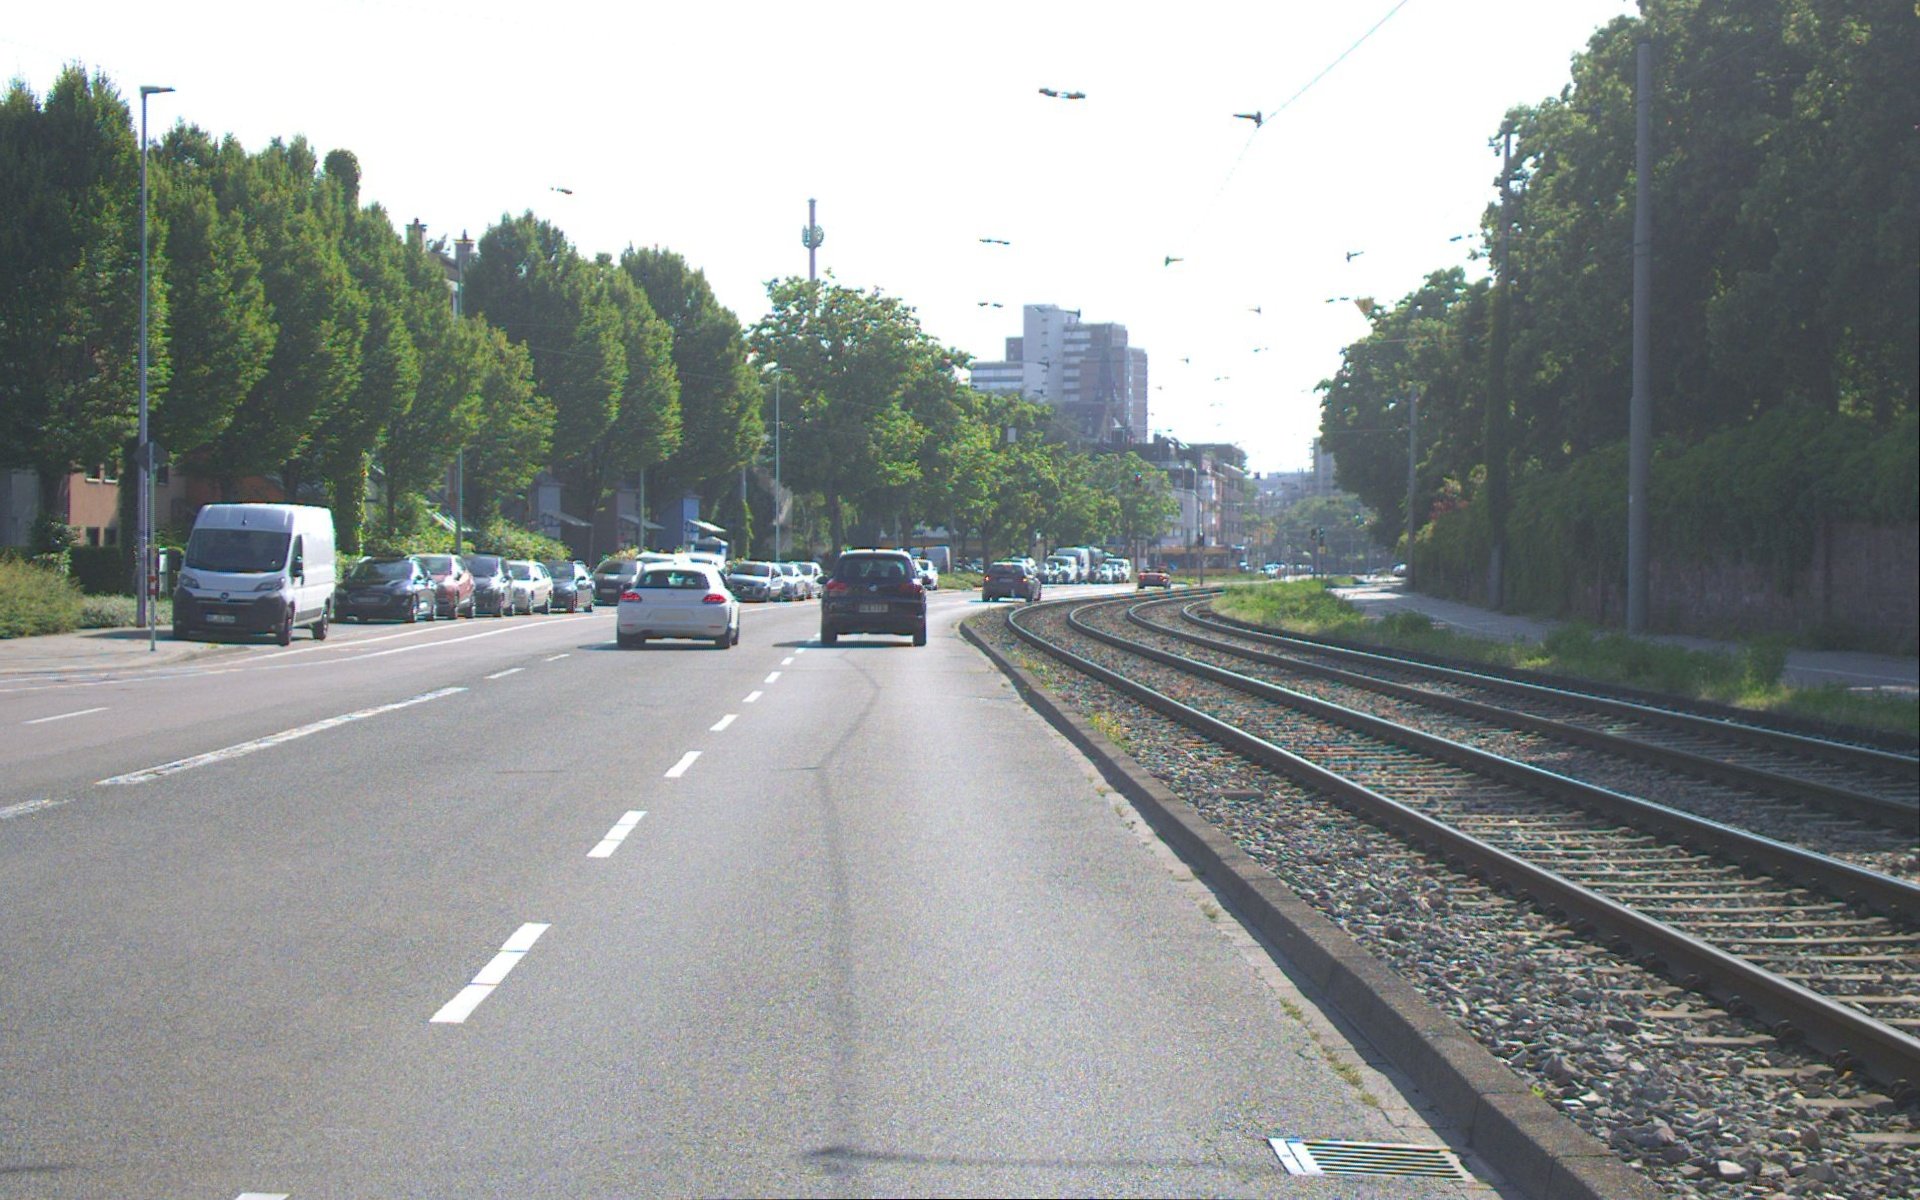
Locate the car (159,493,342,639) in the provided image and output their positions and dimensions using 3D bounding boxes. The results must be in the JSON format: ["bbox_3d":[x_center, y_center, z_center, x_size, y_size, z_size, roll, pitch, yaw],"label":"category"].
[{"bbox_3d":[-12.932,-0.638,63.072,2.152,2.449,6.184,3,1,-2],"label":"car"}]

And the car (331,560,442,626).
[{"bbox_3d":[-12.955,-0.171,77.865,1.652,1.419,4.713,1,1,1],"label":"car"}]

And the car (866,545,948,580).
[{"bbox_3d":[-3.631,-2.591,237.186,5.377,2.415,2.087,0,0,9],"label":"car"}]

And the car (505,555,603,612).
[{"bbox_3d":[-11.842,-0.504,100.488,1.866,1.539,4.909,3,1,4],"label":"car"}]

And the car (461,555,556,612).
[{"bbox_3d":[-12.391,-0.431,94.629,1.712,1.466,4.844,3,0,3],"label":"car"}]

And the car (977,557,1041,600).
[{"bbox_3d":[1.784,-0.787,123.495,1.812,1.444,3.999,2,1,7],"label":"car"}]

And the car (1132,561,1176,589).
[{"bbox_3d":[10.551,-1.351,186.732,1.812,1.444,3.998,2,1,11],"label":"car"}]

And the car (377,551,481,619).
[{"bbox_3d":[-12.869,-0.358,83.483,1.762,1.568,4.162,1,0,1],"label":"car"}]

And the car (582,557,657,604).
[{"bbox_3d":[-11.052,-0.636,111.815,1.616,1.461,4.057,2,1,6],"label":"car"}]

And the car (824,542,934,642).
[{"bbox_3d":[-1.395,-0.155,59.858,1.811,1.639,4.000,1,0,-1],"label":"car"}]

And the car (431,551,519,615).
[{"bbox_3d":[-12.570,-0.449,89.263,1.762,1.568,4.438,2,0,-2],"label":"car"}]

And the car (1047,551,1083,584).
[{"bbox_3d":[7.442,-2.292,242.375,1.864,2.339,4.983,0,1,10],"label":"car"}]

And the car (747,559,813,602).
[{"bbox_3d":[-7.214,-0.788,138.061,1.763,1.533,3.980,5,1,8],"label":"car"}]

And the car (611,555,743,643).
[{"bbox_3d":[-4.573,-0.040,56.003,1.864,1.343,4.000,1,1,-1],"label":"car"}]
